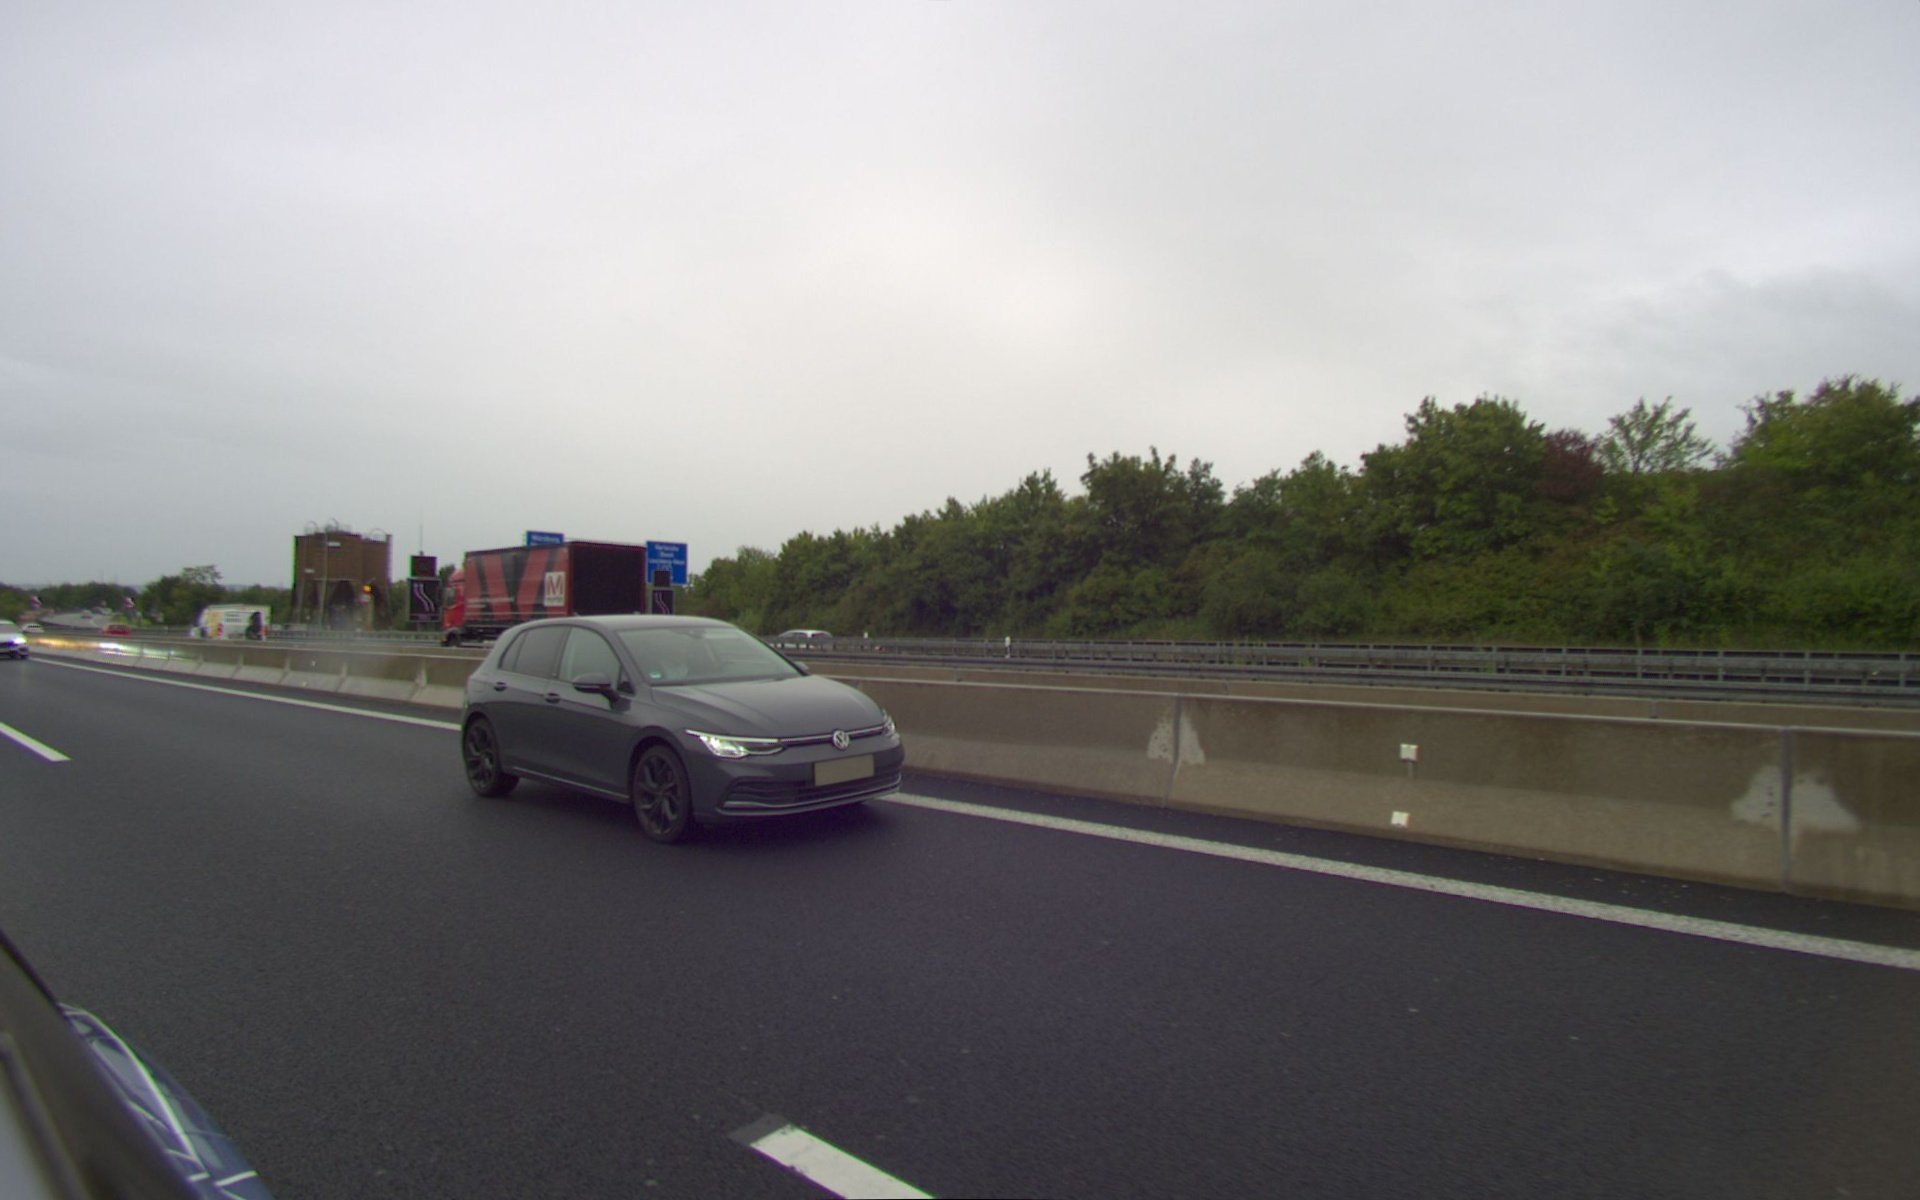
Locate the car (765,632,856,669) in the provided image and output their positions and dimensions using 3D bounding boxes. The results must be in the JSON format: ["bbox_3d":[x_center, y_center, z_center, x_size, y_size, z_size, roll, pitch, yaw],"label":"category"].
[{"bbox_3d":[-6.253,2.060,42.099,3.998,1.409,1.506,-1,-1,41],"label":"car"}]

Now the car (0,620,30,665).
[{"bbox_3d":[-36.597,1.591,38.090,4.816,1.603,1.972,-1,-1,43],"label":"car"}]

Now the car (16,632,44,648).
[{"bbox_3d":[-103.707,4.465,112.855,4.313,1.674,1.972,-1,-2,43],"label":"car"}]

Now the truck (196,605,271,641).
[{"bbox_3d":[-81.915,2.649,113.884,17.128,3.838,3.144,-1,-2,42],"label":"truck"}]

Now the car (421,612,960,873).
[{"bbox_3d":[-2.255,0.852,7.752,4.364,1.436,1.812,-2,-1,40],"label":"car"}]

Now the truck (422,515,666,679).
[{"bbox_3d":[-14.349,-0.004,34.263,10.481,4.769,3.364,-1,-1,42],"label":"truck"}]

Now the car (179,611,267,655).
[{"bbox_3d":[-33.009,1.463,45.264,5.217,1.877,1.973,-1,-3,40],"label":"car"}]

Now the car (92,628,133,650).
[{"bbox_3d":[-66.416,3.042,79.258,4.579,1.564,1.706,-1,0,40],"label":"car"}]
